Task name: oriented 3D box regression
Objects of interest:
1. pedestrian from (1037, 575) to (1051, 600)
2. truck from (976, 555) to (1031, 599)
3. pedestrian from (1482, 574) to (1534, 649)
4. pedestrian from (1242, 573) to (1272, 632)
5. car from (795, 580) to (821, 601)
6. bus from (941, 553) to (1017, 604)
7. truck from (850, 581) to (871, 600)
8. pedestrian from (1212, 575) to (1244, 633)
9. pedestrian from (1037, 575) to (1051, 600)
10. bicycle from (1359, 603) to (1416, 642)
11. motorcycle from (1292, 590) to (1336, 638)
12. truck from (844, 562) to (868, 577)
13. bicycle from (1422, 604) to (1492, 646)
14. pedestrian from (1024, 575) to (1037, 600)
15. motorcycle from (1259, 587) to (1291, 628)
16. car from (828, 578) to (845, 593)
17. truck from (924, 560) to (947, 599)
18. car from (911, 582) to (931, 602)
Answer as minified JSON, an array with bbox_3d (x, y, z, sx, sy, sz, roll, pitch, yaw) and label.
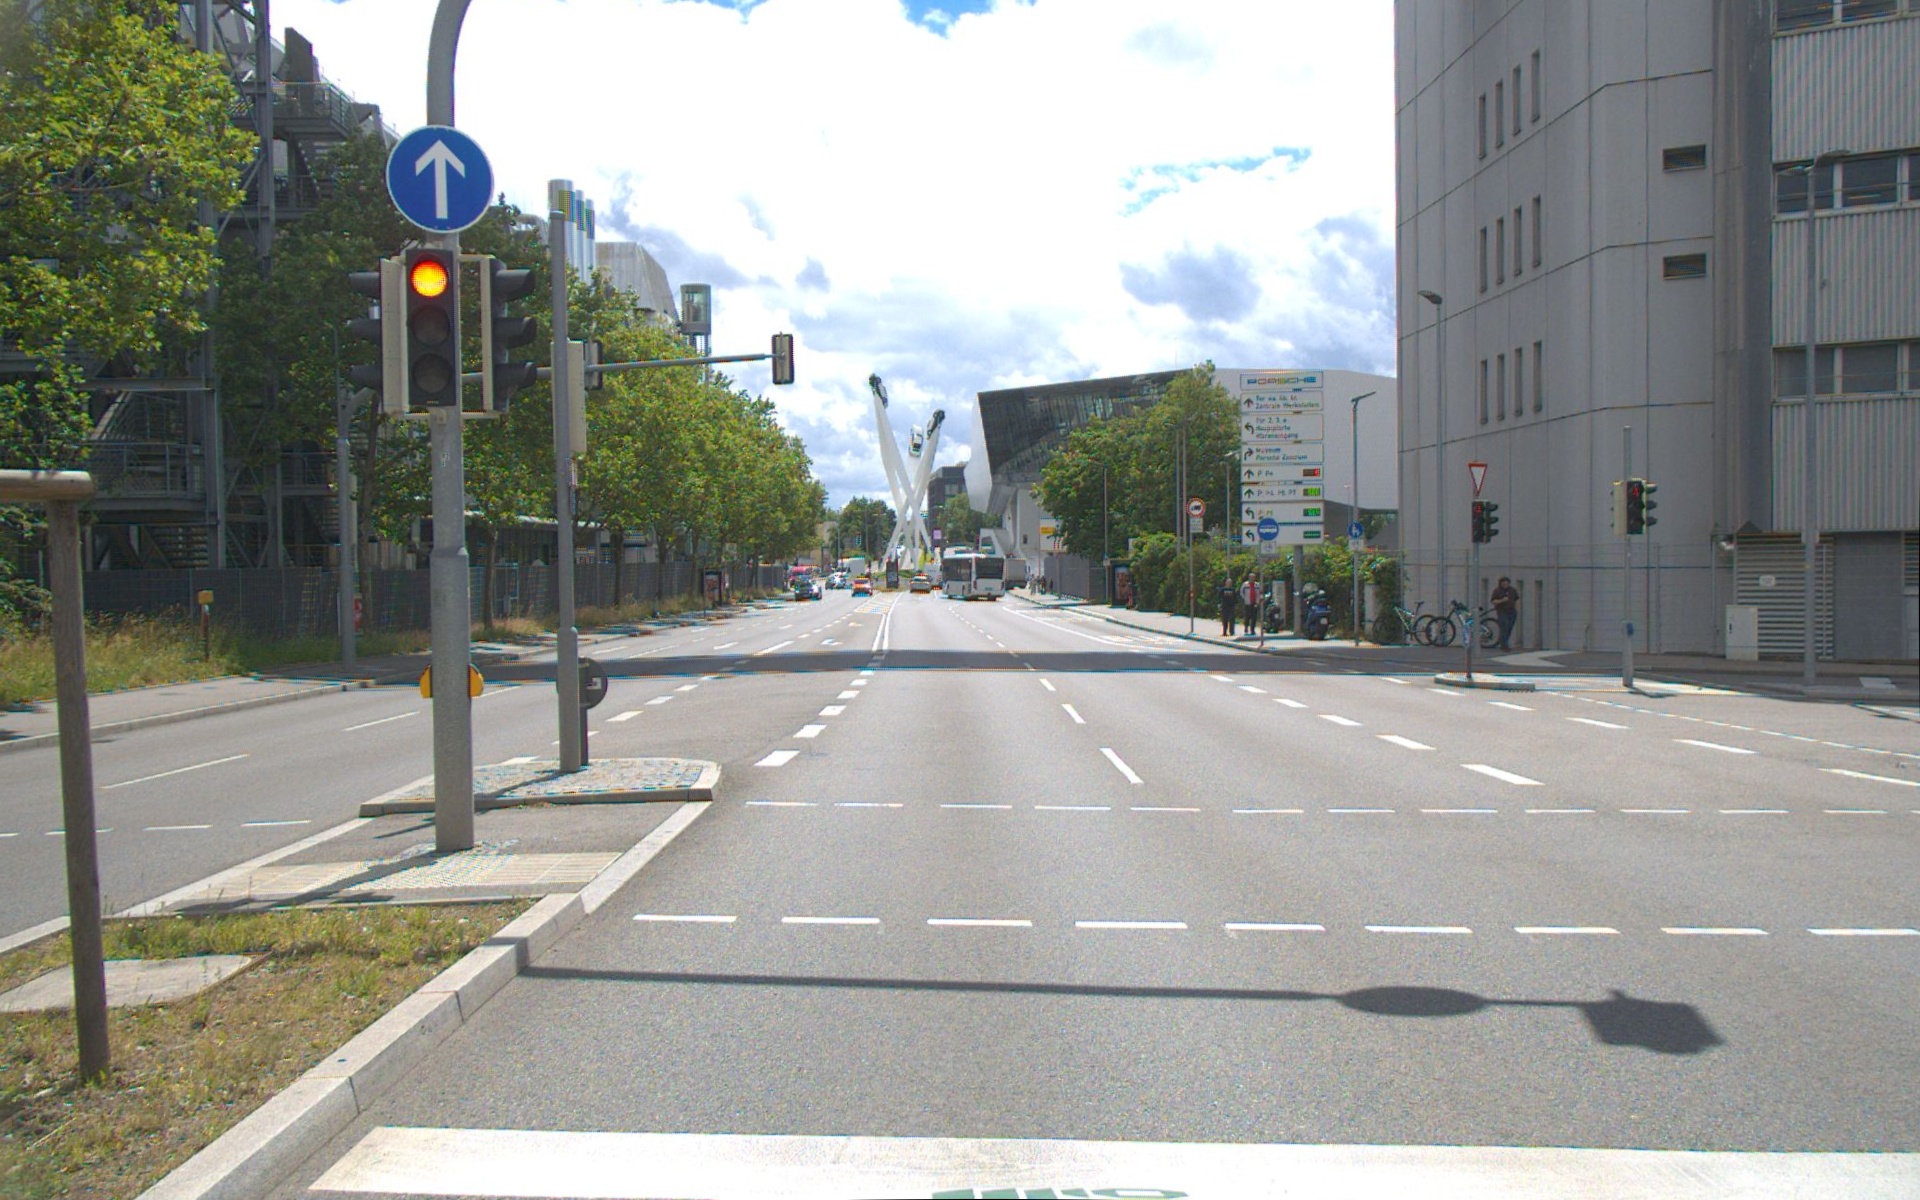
[{"bbox_3d":[7.021,-1.068,137.969,1.008,2.049,0.883,1,-1,-5],"label":"pedestrian"},{"bbox_3d":[4.581,-2.346,171.729,3.379,4.468,9.426,0,0,17],"label":"truck"},{"bbox_3d":[12.405,0.251,37.446,0.834,1.653,0.951,0,0,40],"label":"pedestrian"},{"bbox_3d":[8.965,0.063,49.948,0.803,1.772,0.637,0,0,-1],"label":"pedestrian"},{"bbox_3d":[-11.839,-0.723,129.183,1.782,1.564,3.677,-2,0,-2],"label":"car"},{"bbox_3d":[1.302,-1.580,124.312,3.392,3.605,10.572,0,0,-13],"label":"bus"},{"bbox_3d":[-8.322,-0.813,137.672,1.553,1.564,3.673,0,0,-6],"label":"truck"},{"bbox_3d":[8.083,0.110,49.859,0.803,1.737,0.881,0,0,-1],"label":"pedestrian"},{"bbox_3d":[7.042,-1.051,139.043,1.008,2.049,0.883,1,-1,-5],"label":"pedestrian"},{"bbox_3d":[10.614,0.548,41.108,0.391,0.953,1.917,0,0,-19],"label":"bicycle"},{"bbox_3d":[9.617,0.379,45.015,0.692,1.224,2.024,-2,1,-1],"label":"motorcycle"},{"bbox_3d":[-14.545,-4.279,231.973,1.723,2.049,4.443,0,0,22],"label":"truck"},{"bbox_3d":[11.648,0.581,38.837,0.392,0.953,1.912,0,0,-26],"label":"bicycle"},{"bbox_3d":[5.884,-1.068,138.017,1.008,2.049,0.883,1,-1,-5],"label":"pedestrian"},{"bbox_3d":[10.063,0.234,52.882,0.562,1.224,2.024,-2,1,-1],"label":"motorcycle"},{"bbox_3d":[-13.664,-1.621,183.096,1.784,1.564,3.674,-2,0,-6],"label":"car"},{"bbox_3d":[-2.542,-2.093,172.079,2.343,3.965,6.176,0,0,-1],"label":"truck"},{"bbox_3d":[-3.494,-0.712,148.676,1.703,1.772,3.691,0,0,-1],"label":"car"}]
